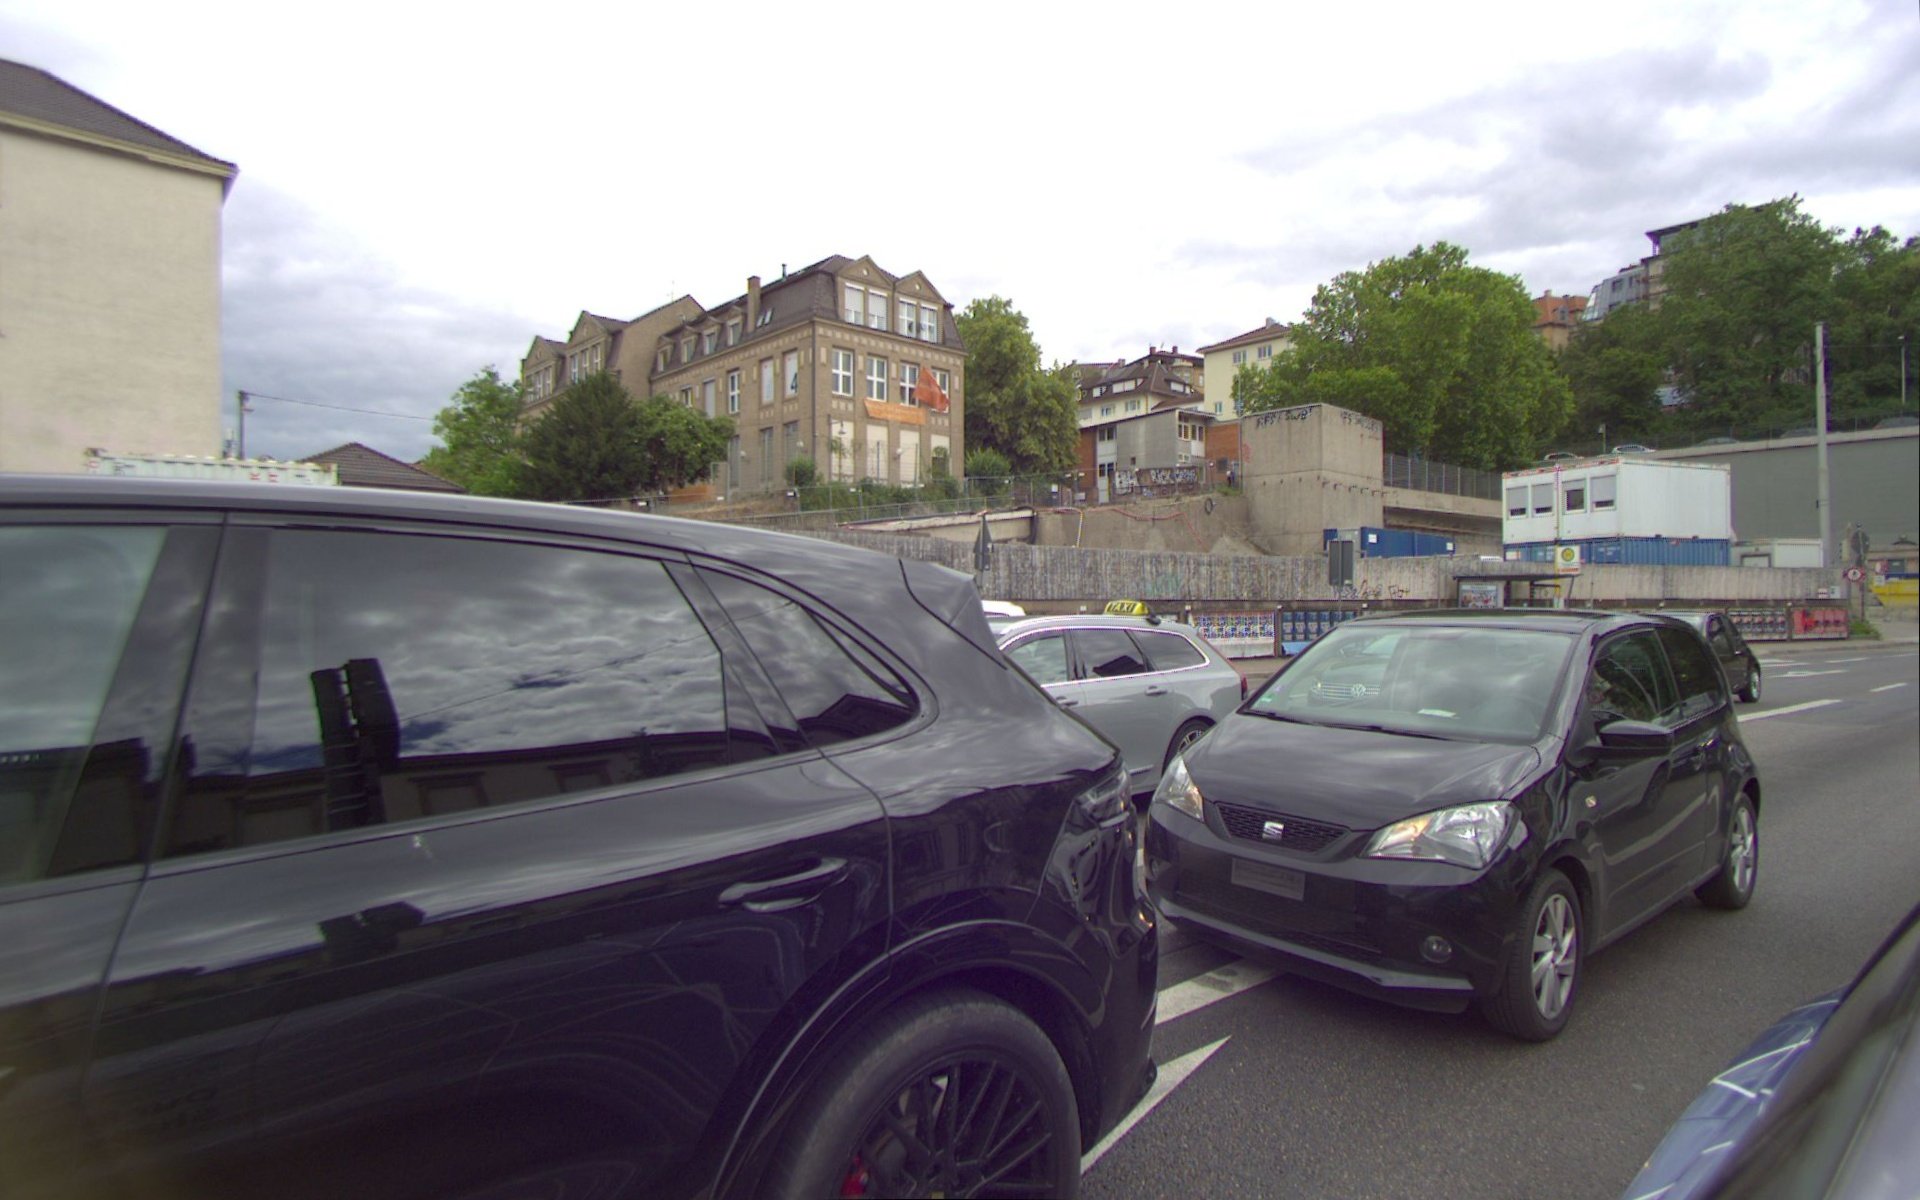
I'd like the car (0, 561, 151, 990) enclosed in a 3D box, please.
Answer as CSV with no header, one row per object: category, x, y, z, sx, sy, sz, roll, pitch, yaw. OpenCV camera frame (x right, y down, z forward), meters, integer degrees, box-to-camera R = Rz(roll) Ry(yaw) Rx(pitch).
car,-5.066,0.636,3.456,3.581,1.529,1.826,-1,0,-39

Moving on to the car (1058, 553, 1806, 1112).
car,2.408,0.631,4.718,3.841,1.575,1.661,-1,0,-39

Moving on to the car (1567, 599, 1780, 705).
car,11.303,0.757,15.970,3.711,1.478,1.721,1,-2,-38

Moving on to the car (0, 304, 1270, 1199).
car,-1.661,0.555,1.666,4.497,1.689,1.998,-1,0,-39

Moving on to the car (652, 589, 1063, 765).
car,-0.943,0.633,10.602,4.004,1.484,1.824,-1,0,-42

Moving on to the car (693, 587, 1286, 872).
car,0.396,0.657,7.339,4.142,1.484,1.825,-1,0,-40

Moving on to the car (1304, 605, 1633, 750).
car,6.020,0.768,11.805,4.139,1.381,1.827,1,0,-38

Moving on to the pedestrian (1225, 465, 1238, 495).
pedestrian,16.949,-7.464,63.129,0.559,1.817,0.554,0,0,-38
